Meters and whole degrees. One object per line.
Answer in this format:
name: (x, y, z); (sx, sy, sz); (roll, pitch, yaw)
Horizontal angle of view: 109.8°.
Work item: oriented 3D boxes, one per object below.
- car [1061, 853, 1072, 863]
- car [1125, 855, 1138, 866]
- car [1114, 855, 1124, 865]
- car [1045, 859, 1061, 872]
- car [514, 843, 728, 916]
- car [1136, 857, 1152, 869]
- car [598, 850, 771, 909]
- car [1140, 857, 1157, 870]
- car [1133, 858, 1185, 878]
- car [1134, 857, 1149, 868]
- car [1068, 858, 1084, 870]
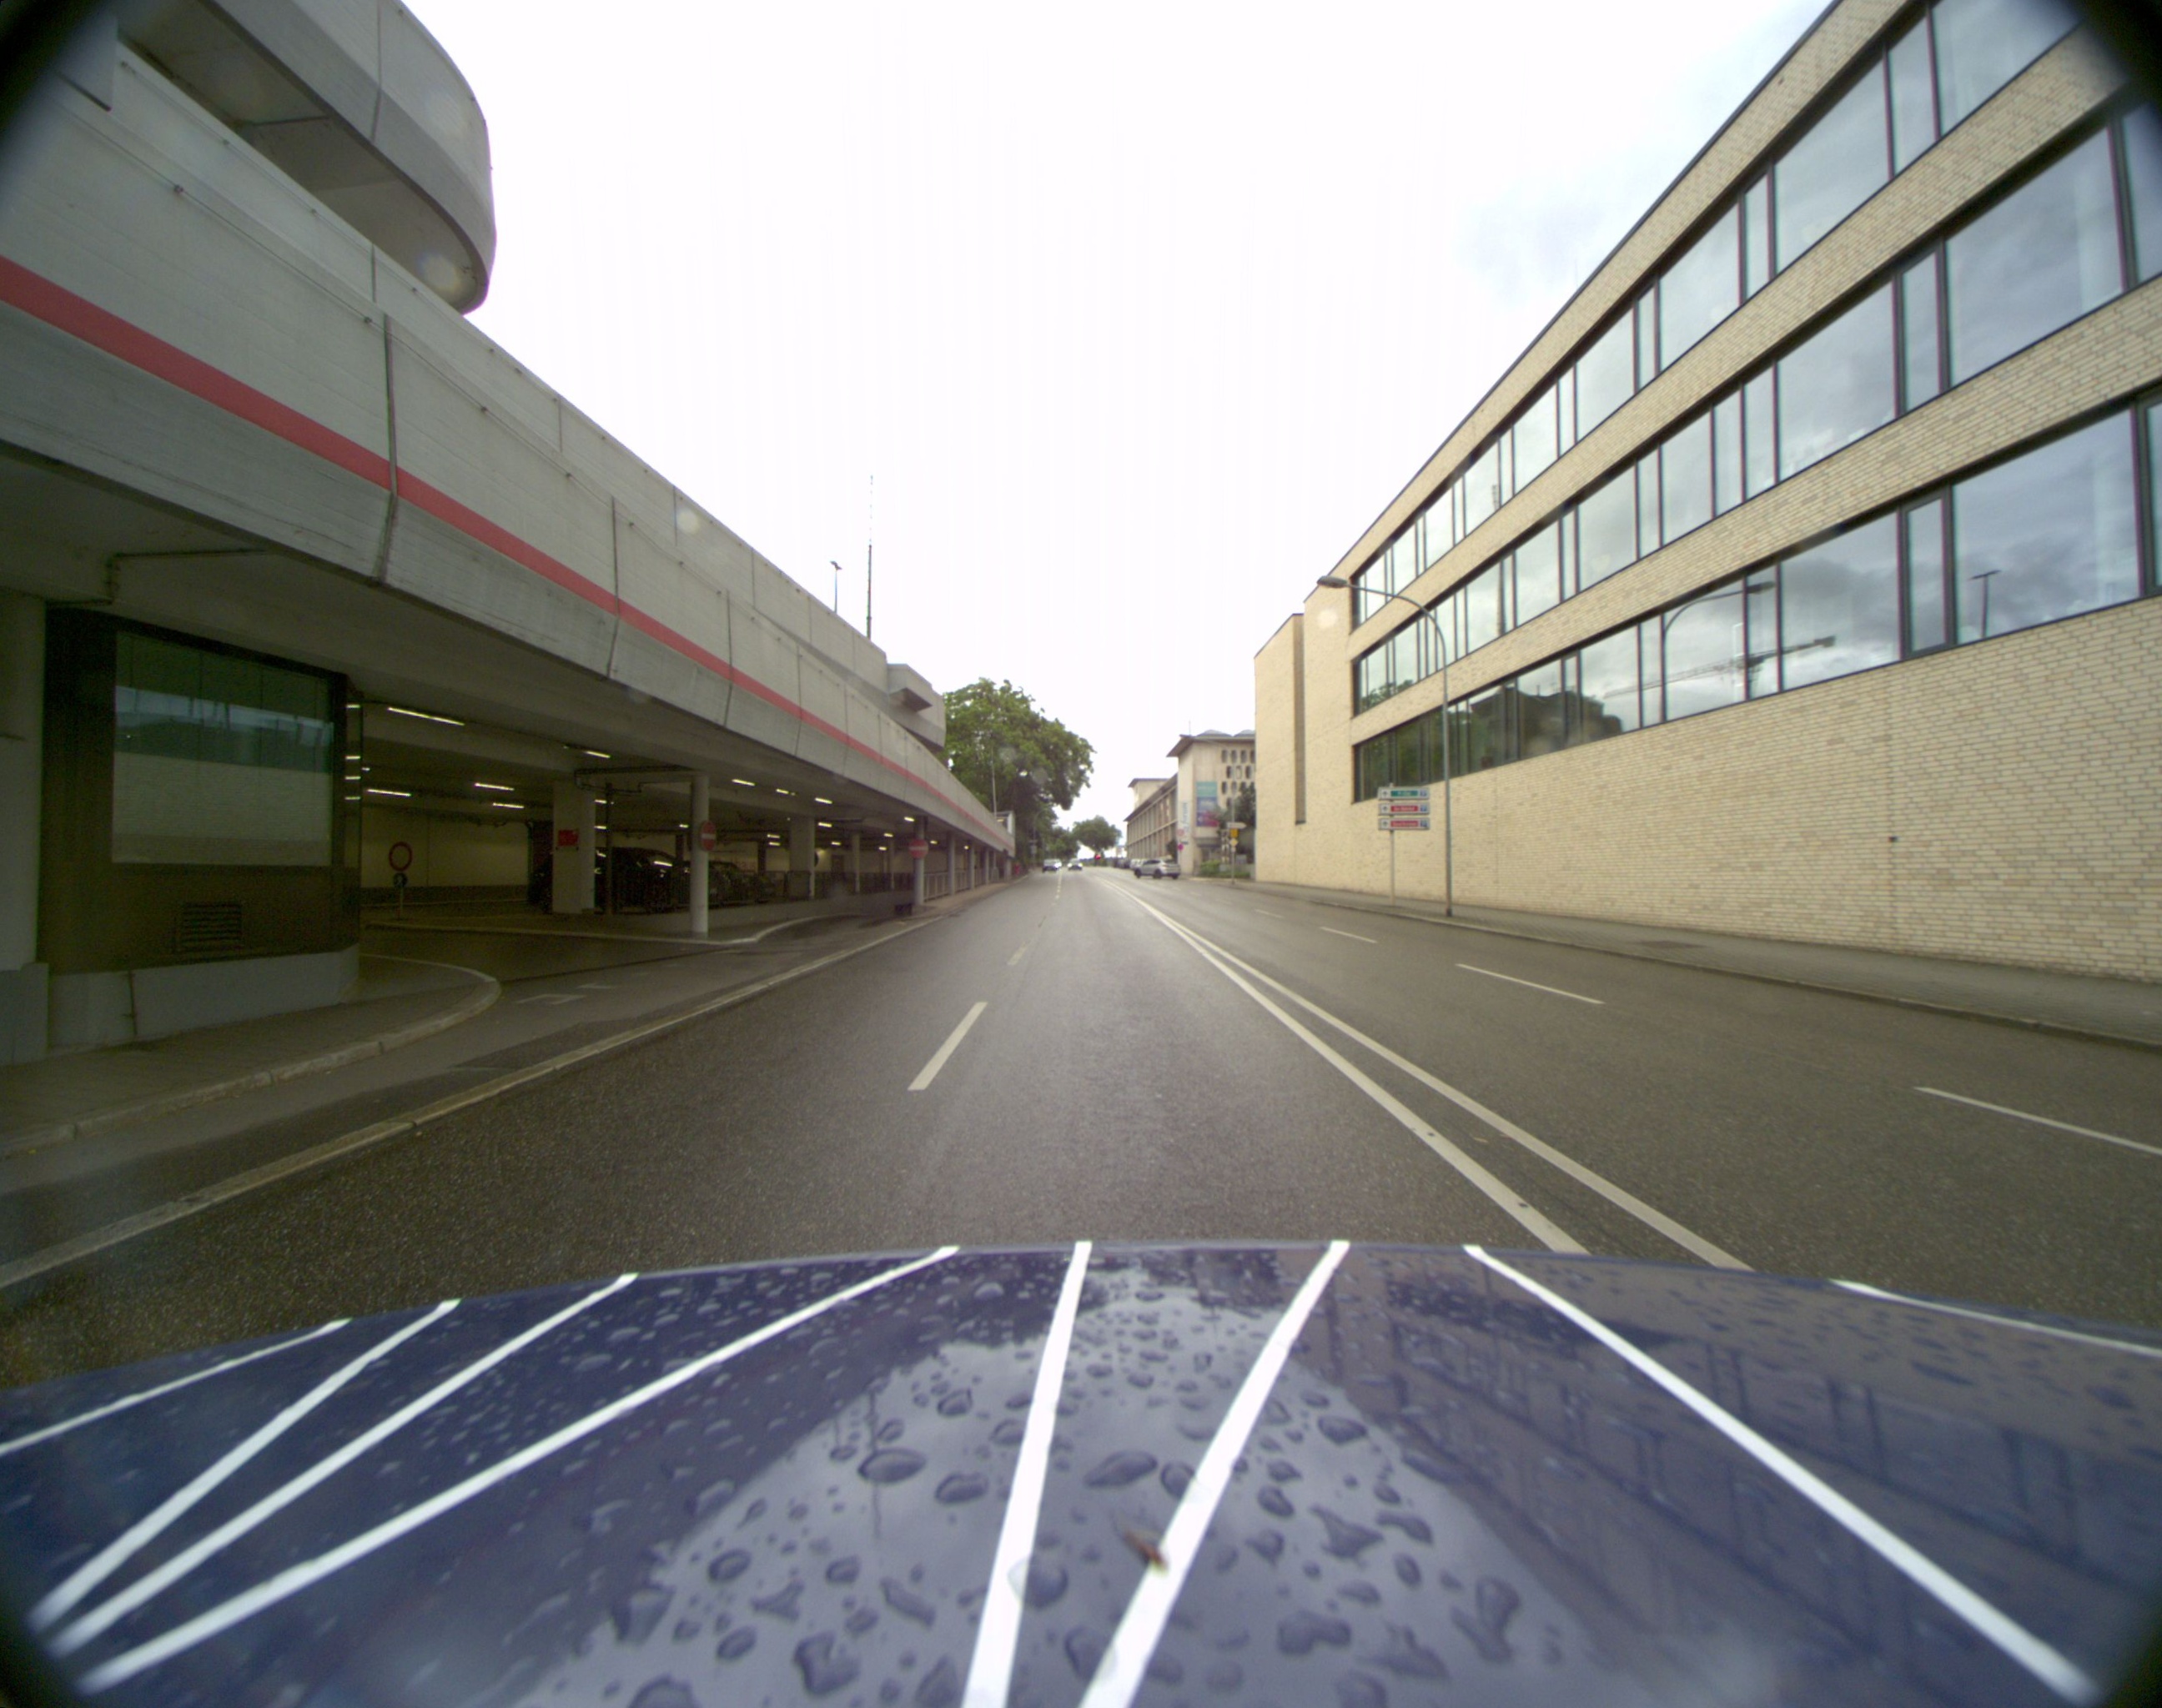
car: (-2.622, 0.737, 136.822); (1.727, 1.628, 3.999); (-2, 1, 1)
car: (8.086, 1.045, 121.588); (1.800, 1.516, 4.056); (-2, -1, 1)
car: (7.134, 1.137, 142.709); (1.698, 1.715, 3.756); (-2, 1, 1)
car: (-3.299, 1.357, 90.344); (1.683, 1.516, 3.990); (-2, -1, 1)
car: (-11.394, 0.692, 18.963); (4.251, 1.650, 2.003); (-1, -4, 10)
car: (8.404, 1.192, 101.772); (1.800, 1.516, 4.056); (-2, -1, 1)
car: (-11.924, 0.816, 22.987); (4.251, 1.650, 2.003); (-1, -4, 10)
car: (8.520, 1.205, 96.634); (1.800, 1.516, 4.056); (-2, -1, 1)
car: (6.227, 1.151, 61.026); (1.805, 1.516, 4.046); (-2, -1, -35)
car: (8.418, 1.203, 106.726); (1.800, 1.516, 4.056); (-2, -1, 1)
car: (-0.644, 1.337, 99.038); (1.852, 1.516, 3.990); (-2, -1, 1)
